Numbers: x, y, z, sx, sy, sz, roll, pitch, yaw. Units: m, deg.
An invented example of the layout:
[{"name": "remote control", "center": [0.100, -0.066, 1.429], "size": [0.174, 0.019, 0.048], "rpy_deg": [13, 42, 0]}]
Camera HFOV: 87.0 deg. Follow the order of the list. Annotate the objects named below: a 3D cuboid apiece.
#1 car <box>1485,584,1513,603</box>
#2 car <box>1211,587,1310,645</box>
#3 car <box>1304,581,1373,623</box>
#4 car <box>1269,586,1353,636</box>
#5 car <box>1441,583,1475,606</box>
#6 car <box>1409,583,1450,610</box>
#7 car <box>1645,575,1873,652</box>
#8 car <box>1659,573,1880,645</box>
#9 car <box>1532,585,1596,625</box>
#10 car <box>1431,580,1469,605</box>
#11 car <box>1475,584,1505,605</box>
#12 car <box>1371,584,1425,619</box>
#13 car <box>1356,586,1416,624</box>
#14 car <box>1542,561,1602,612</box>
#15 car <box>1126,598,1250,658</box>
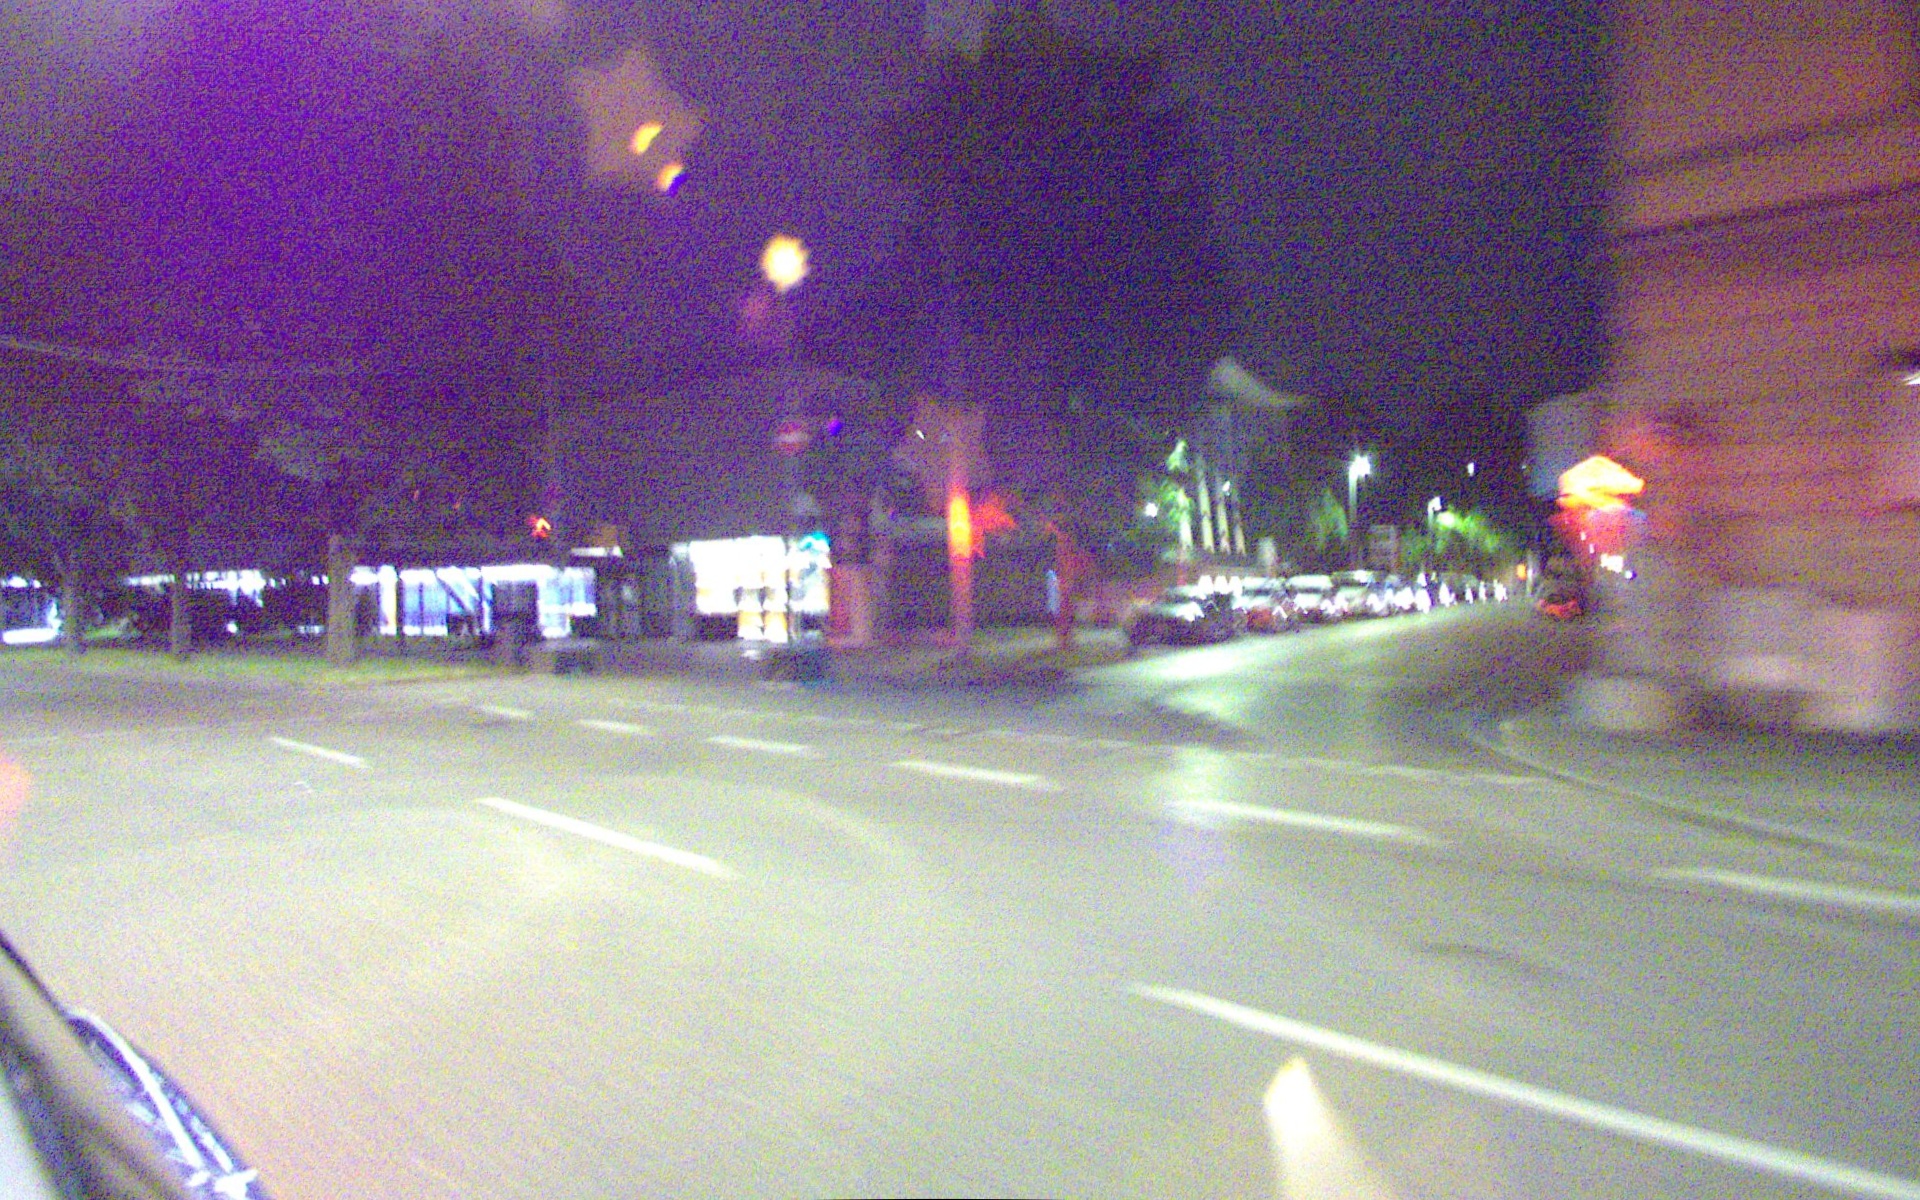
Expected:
[{"name": "car", "center": [48.994, -0.607, 91.930], "size": [1.888, 1.690, 4.341], "rpy_deg": [2, 2, 32]}, {"name": "car", "center": [10.053, 0.463, 33.677], "size": [1.829, 1.689, 4.338], "rpy_deg": [5, 3, 35]}, {"name": "car", "center": [17.057, 0.068, 45.465], "size": [1.889, 1.689, 4.339], "rpy_deg": [5, 3, 34]}, {"name": "car", "center": [13.663, 0.381, 39.235], "size": [1.890, 1.721, 4.338], "rpy_deg": [5, 3, 35]}, {"name": "car", "center": [38.728, -0.451, 78.619], "size": [1.888, 1.690, 4.341], "rpy_deg": [1, 1, 32]}, {"name": "car", "center": [30.981, -0.260, 66.715], "size": [1.888, 1.690, 4.341], "rpy_deg": [2, 2, 32]}, {"name": "car", "center": [18.394, 0.308, 23.497], "size": [3.995, 1.652, 1.974], "rpy_deg": [-1, -1, 38]}, {"name": "car", "center": [20.176, 0.235, 25.444], "size": [4.180, 1.652, 1.974], "rpy_deg": [-1, -1, 38]}, {"name": "car", "center": [24.558, 0.193, 41.071], "size": [1.919, 1.526, 5.044], "rpy_deg": [-1, 0, 35]}, {"name": "car", "center": [34.646, -0.533, 71.497], "size": [1.888, 1.690, 4.722], "rpy_deg": [2, 2, 32]}, {"name": "car", "center": [44.865, -0.490, 85.575], "size": [1.888, 1.690, 4.341], "rpy_deg": [2, 2, 32]}, {"name": "car", "center": [24.104, 0.042, 55.612], "size": [1.889, 1.689, 4.339], "rpy_deg": [5, 3, 34]}, {"name": "car", "center": [21.166, 0.194, 50.225], "size": [1.889, 1.689, 4.339], "rpy_deg": [5, 3, 34]}, {"name": "car", "center": [30.452, -0.625, 50.284], "size": [2.164, 2.351, 5.658], "rpy_deg": [-1, -1, 35]}, {"name": "car", "center": [6.453, 0.713, 28.292], "size": [1.829, 1.403, 4.338], "rpy_deg": [5, 3, 35]}]
